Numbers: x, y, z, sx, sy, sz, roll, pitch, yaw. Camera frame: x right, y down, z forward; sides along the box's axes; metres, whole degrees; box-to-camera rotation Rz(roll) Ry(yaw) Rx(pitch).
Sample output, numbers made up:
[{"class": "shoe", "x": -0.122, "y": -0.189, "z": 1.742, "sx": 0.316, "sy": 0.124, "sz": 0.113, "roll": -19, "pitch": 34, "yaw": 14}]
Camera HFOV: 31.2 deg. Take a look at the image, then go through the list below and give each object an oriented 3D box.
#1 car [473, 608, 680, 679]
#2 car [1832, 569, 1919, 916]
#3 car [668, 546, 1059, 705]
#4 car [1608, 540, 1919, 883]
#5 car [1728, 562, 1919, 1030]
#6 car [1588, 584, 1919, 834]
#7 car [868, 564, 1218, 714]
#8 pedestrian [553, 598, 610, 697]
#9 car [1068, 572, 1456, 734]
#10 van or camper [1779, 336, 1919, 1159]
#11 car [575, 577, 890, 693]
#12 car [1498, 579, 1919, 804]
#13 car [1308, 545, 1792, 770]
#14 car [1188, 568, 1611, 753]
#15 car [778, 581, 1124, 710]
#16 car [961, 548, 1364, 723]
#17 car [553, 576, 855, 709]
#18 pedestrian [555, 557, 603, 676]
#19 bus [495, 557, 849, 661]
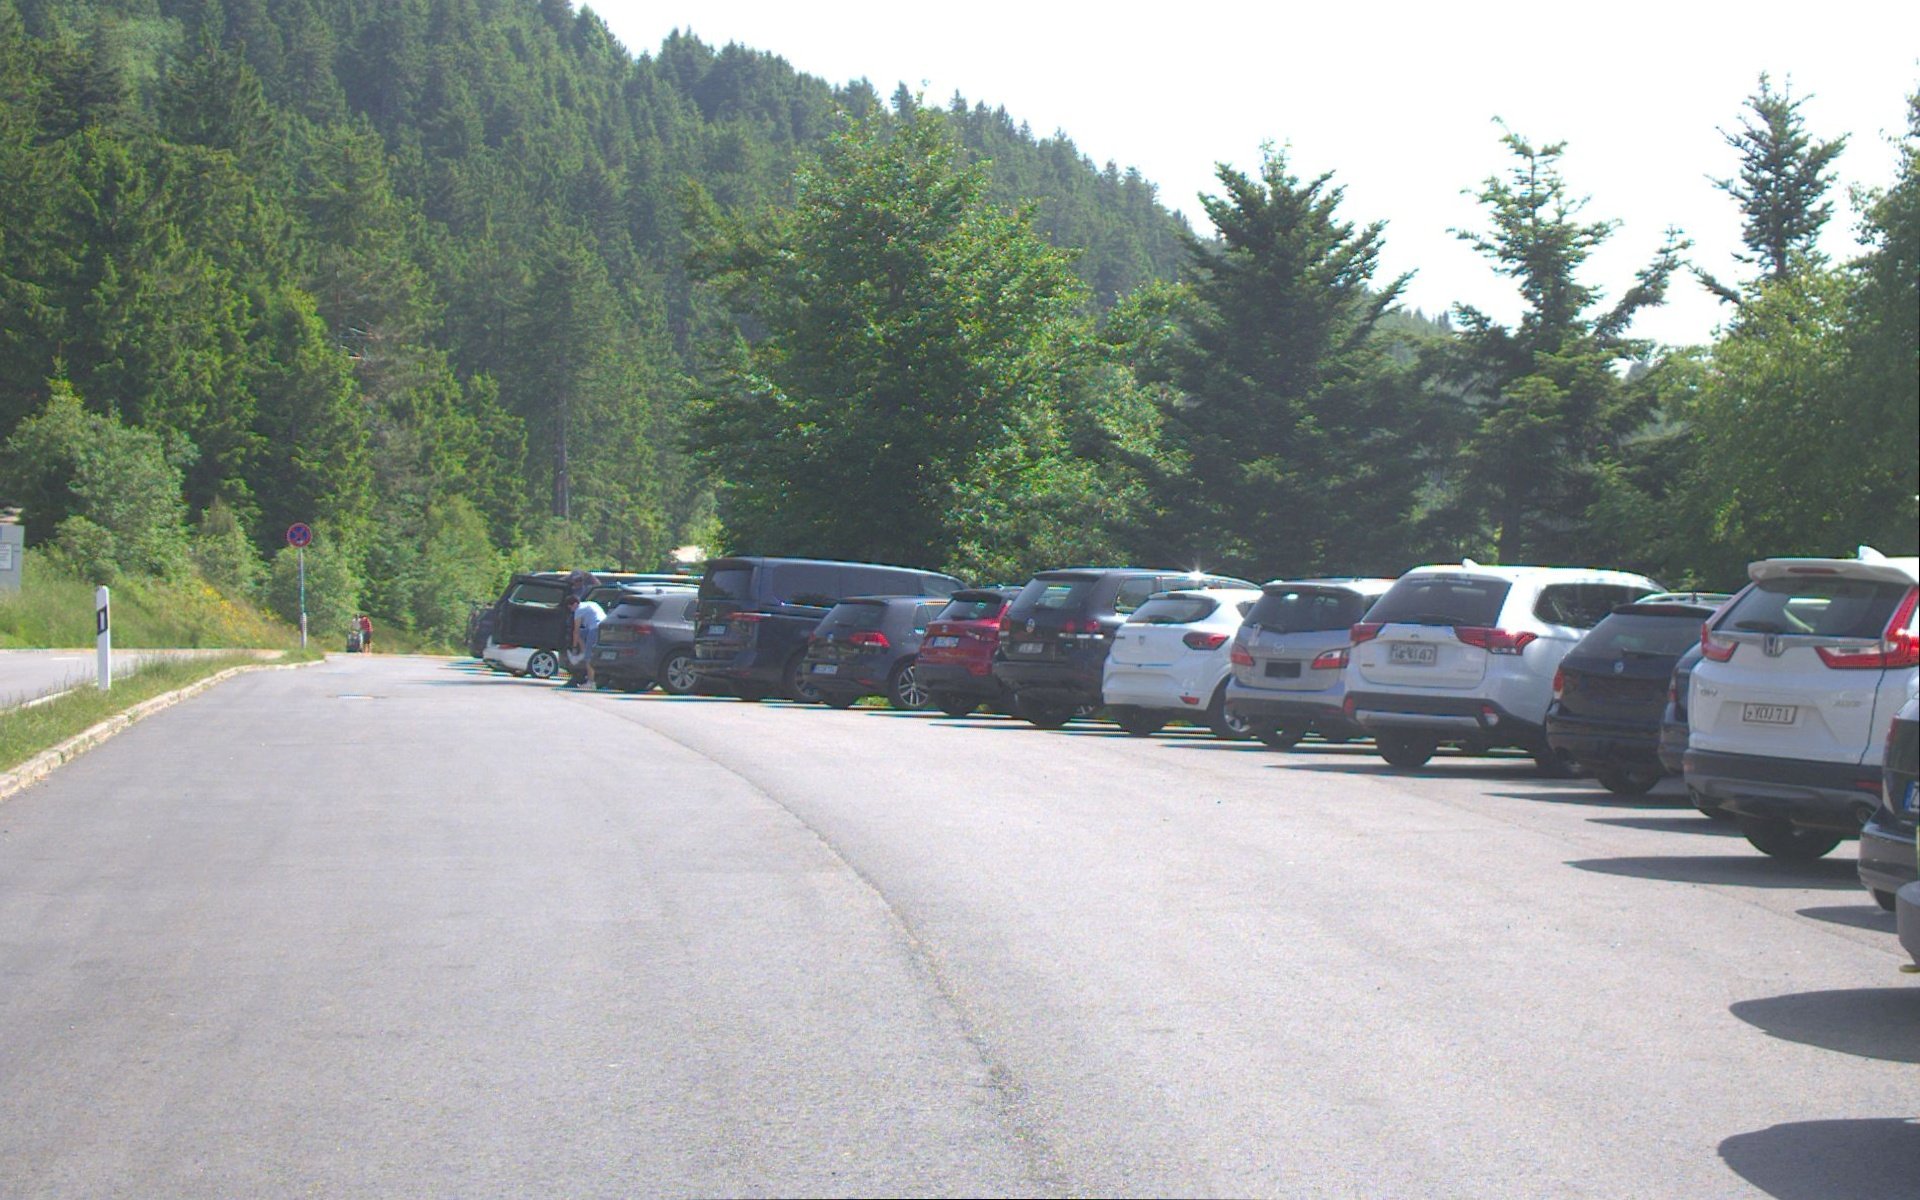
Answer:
[{"class": "car", "x": -8.949, "y": 1.019, "z": 80.321, "sx": 4.452, "sy": 1.294, "sz": 1.582, "roll": 5, "pitch": -1, "yaw": -25}, {"class": "car", "x": 6.179, "y": 0.665, "z": 15.235, "sx": 4.084, "sy": 1.495, "sz": 1.944, "roll": 1, "pitch": 0, "yaw": -21}, {"class": "car", "x": -1.271, "y": 0.346, "z": 45.816, "sx": 4.756, "sy": 1.873, "sz": 1.967, "roll": 3, "pitch": 0, "yaw": -28}, {"class": "car", "x": 5.741, "y": 0.611, "z": 18.327, "sx": 4.171, "sy": 1.644, "sz": 1.892, "roll": 3, "pitch": 0, "yaw": -29}, {"class": "car", "x": 5.117, "y": 0.599, "z": 12.085, "sx": 4.349, "sy": 1.482, "sz": 1.813, "roll": -1, "pitch": 2, "yaw": -12}, {"class": "car", "x": 6.108, "y": 0.725, "z": 22.303, "sx": 3.794, "sy": 1.454, "sz": 1.663, "roll": 3, "pitch": 0, "yaw": -31}, {"class": "car", "x": 1.022, "y": 0.475, "z": 40.607, "sx": 1.862, "sy": 1.584, "sz": 3.989, "roll": 2, "pitch": -1, "yaw": 44}, {"class": "pedestrian", "x": -5.506, "y": 0.686, "z": 50.021, "sx": 0.773, "sy": 1.398, "sz": 0.669, "roll": -1, "pitch": 1, "yaw": -3}, {"class": "car", "x": 3.118, "y": 0.560, "z": 34.992, "sx": 1.766, "sy": 1.471, "sz": 3.989, "roll": 2, "pitch": -1, "yaw": 44}, {"class": "van or camper", "x": 4.897, "y": 0.474, "z": 8.635, "sx": 5.089, "sy": 2.007, "sz": 1.883, "roll": 3, "pitch": 1, "yaw": -7}, {"class": "car", "x": -3.216, "y": 0.495, "z": 48.749, "sx": 3.986, "sy": 1.438, "sz": 1.840, "roll": 3, "pitch": 0, "yaw": -30}, {"class": "car", "x": 6.040, "y": 0.686, "z": 24.953, "sx": 4.039, "sy": 1.456, "sz": 1.894, "roll": 3, "pitch": 0, "yaw": -37}, {"class": "car", "x": 4.954, "y": 0.481, "z": 28.523, "sx": 1.862, "sy": 1.689, "sz": 4.216, "roll": 2, "pitch": 0, "yaw": 44}, {"class": "car", "x": 4.128, "y": 0.583, "z": 31.916, "sx": 1.819, "sy": 1.544, "sz": 3.989, "roll": 2, "pitch": -1, "yaw": 44}, {"class": "car", "x": -0.090, "y": 0.579, "z": 42.858, "sx": 3.987, "sy": 1.410, "sz": 1.744, "roll": 3, "pitch": 0, "yaw": -36}, {"class": "car", "x": 2.232, "y": 0.402, "z": 37.096, "sx": 1.989, "sy": 1.689, "sz": 4.262, "roll": 2, "pitch": -1, "yaw": 44}, {"class": "car", "x": -3.843, "y": 0.647, "z": 51.903, "sx": 3.987, "sy": 1.656, "sz": 2.000, "roll": 6, "pitch": -3, "yaw": -36}, {"class": "pedestrian", "x": -5.779, "y": 0.256, "z": 52.154, "sx": 0.579, "sy": 1.755, "sz": 0.633, "roll": 3, "pitch": -1, "yaw": -1}, {"class": "bus", "x": -10.776, "y": 0.301, "z": 128.916, "sx": 12.864, "sy": 3.566, "sz": 2.981, "roll": 1, "pitch": 2, "yaw": 8}]
